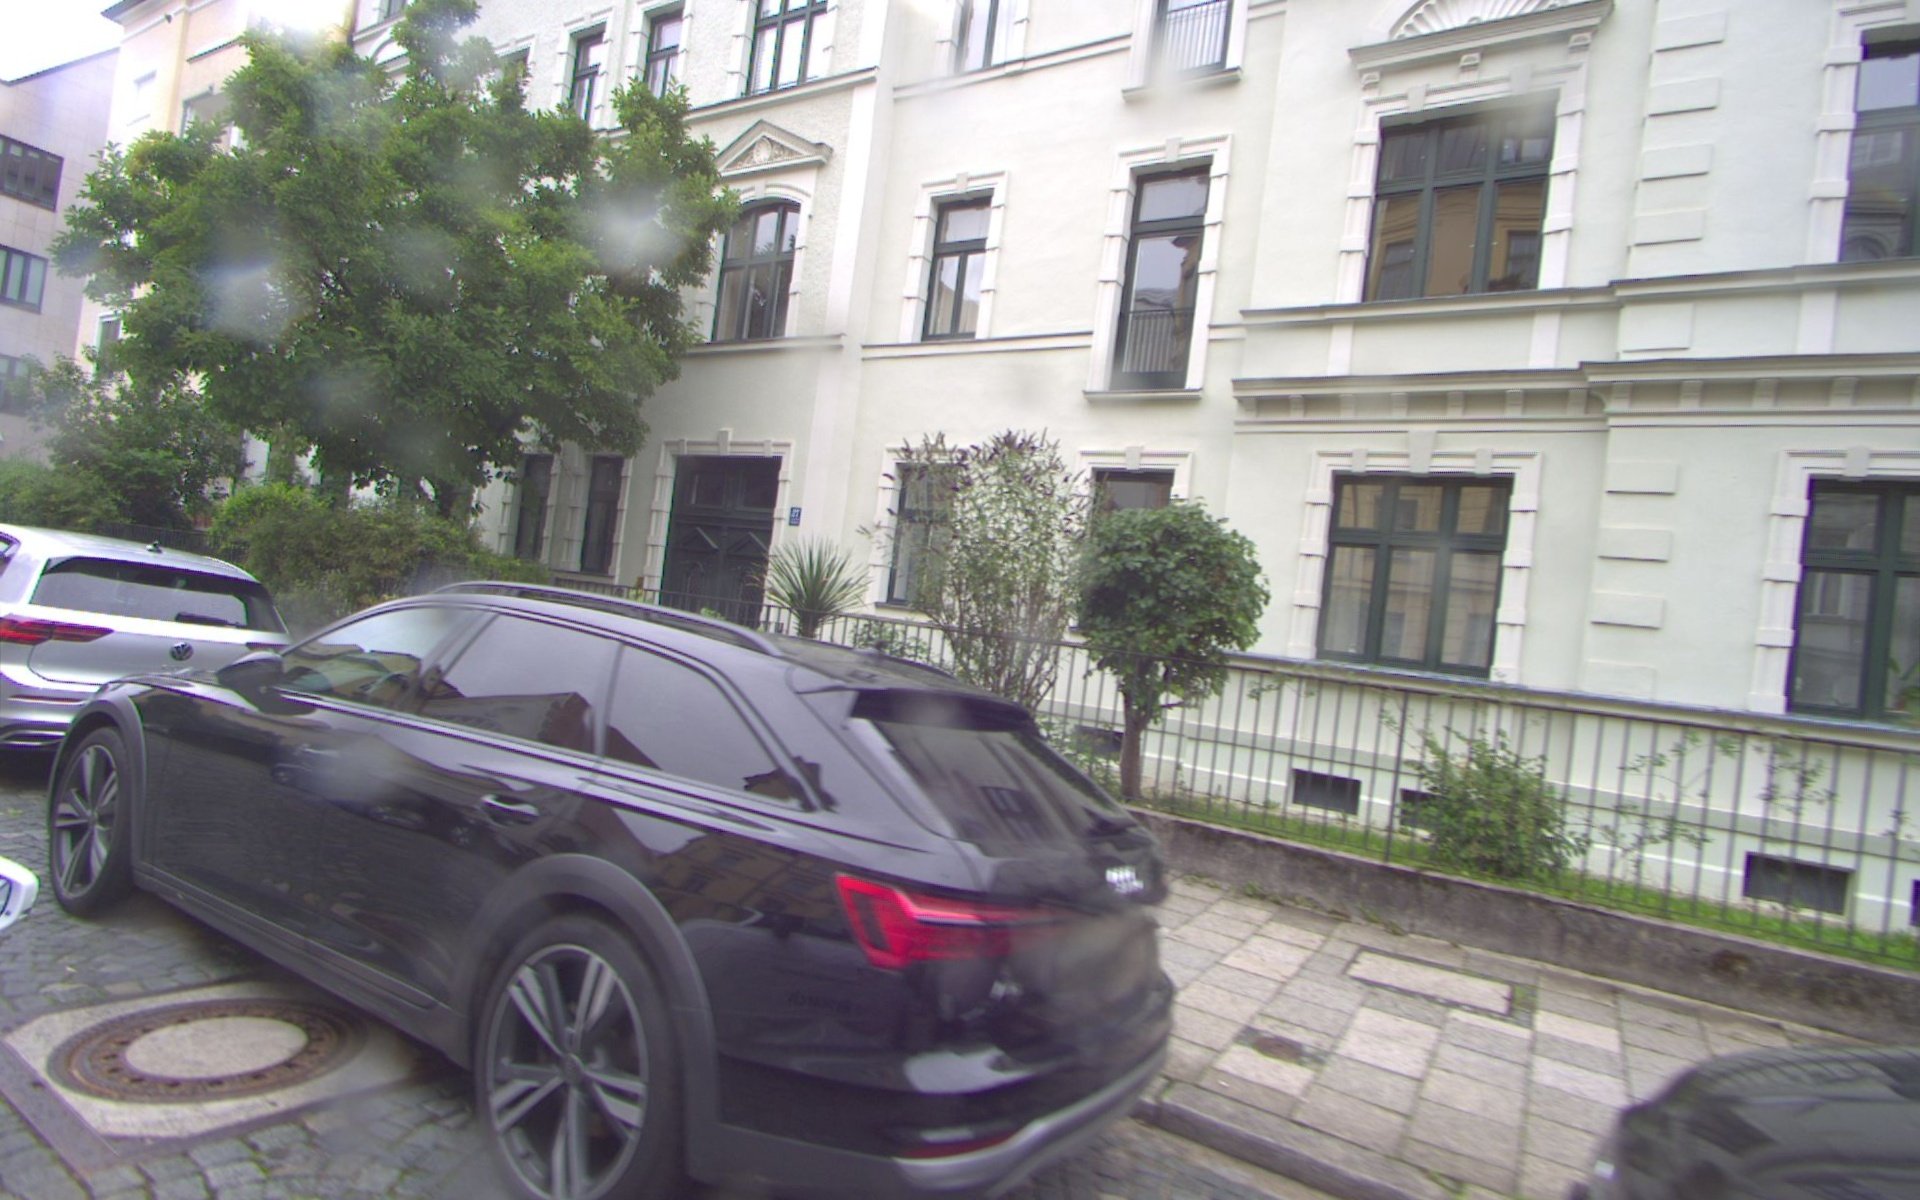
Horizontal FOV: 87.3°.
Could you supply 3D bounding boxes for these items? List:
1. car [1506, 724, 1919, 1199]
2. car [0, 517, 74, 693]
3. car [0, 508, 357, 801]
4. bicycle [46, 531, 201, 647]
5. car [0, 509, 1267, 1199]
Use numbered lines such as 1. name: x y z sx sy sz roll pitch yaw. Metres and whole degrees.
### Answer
1. car: 2.747 1.233 1.228 3.625 1.523 1.673 6 -5 32
2. car: -10.682 -0.256 9.655 4.735 1.504 1.888 6 -5 33
3. car: -6.314 0.201 6.937 4.407 1.474 1.761 6 -5 33
4. bicycle: -10.396 -0.134 12.506 1.617 1.208 0.582 7 -2 18
5. car: -1.672 0.714 3.891 5.022 1.518 1.911 6 -5 33
